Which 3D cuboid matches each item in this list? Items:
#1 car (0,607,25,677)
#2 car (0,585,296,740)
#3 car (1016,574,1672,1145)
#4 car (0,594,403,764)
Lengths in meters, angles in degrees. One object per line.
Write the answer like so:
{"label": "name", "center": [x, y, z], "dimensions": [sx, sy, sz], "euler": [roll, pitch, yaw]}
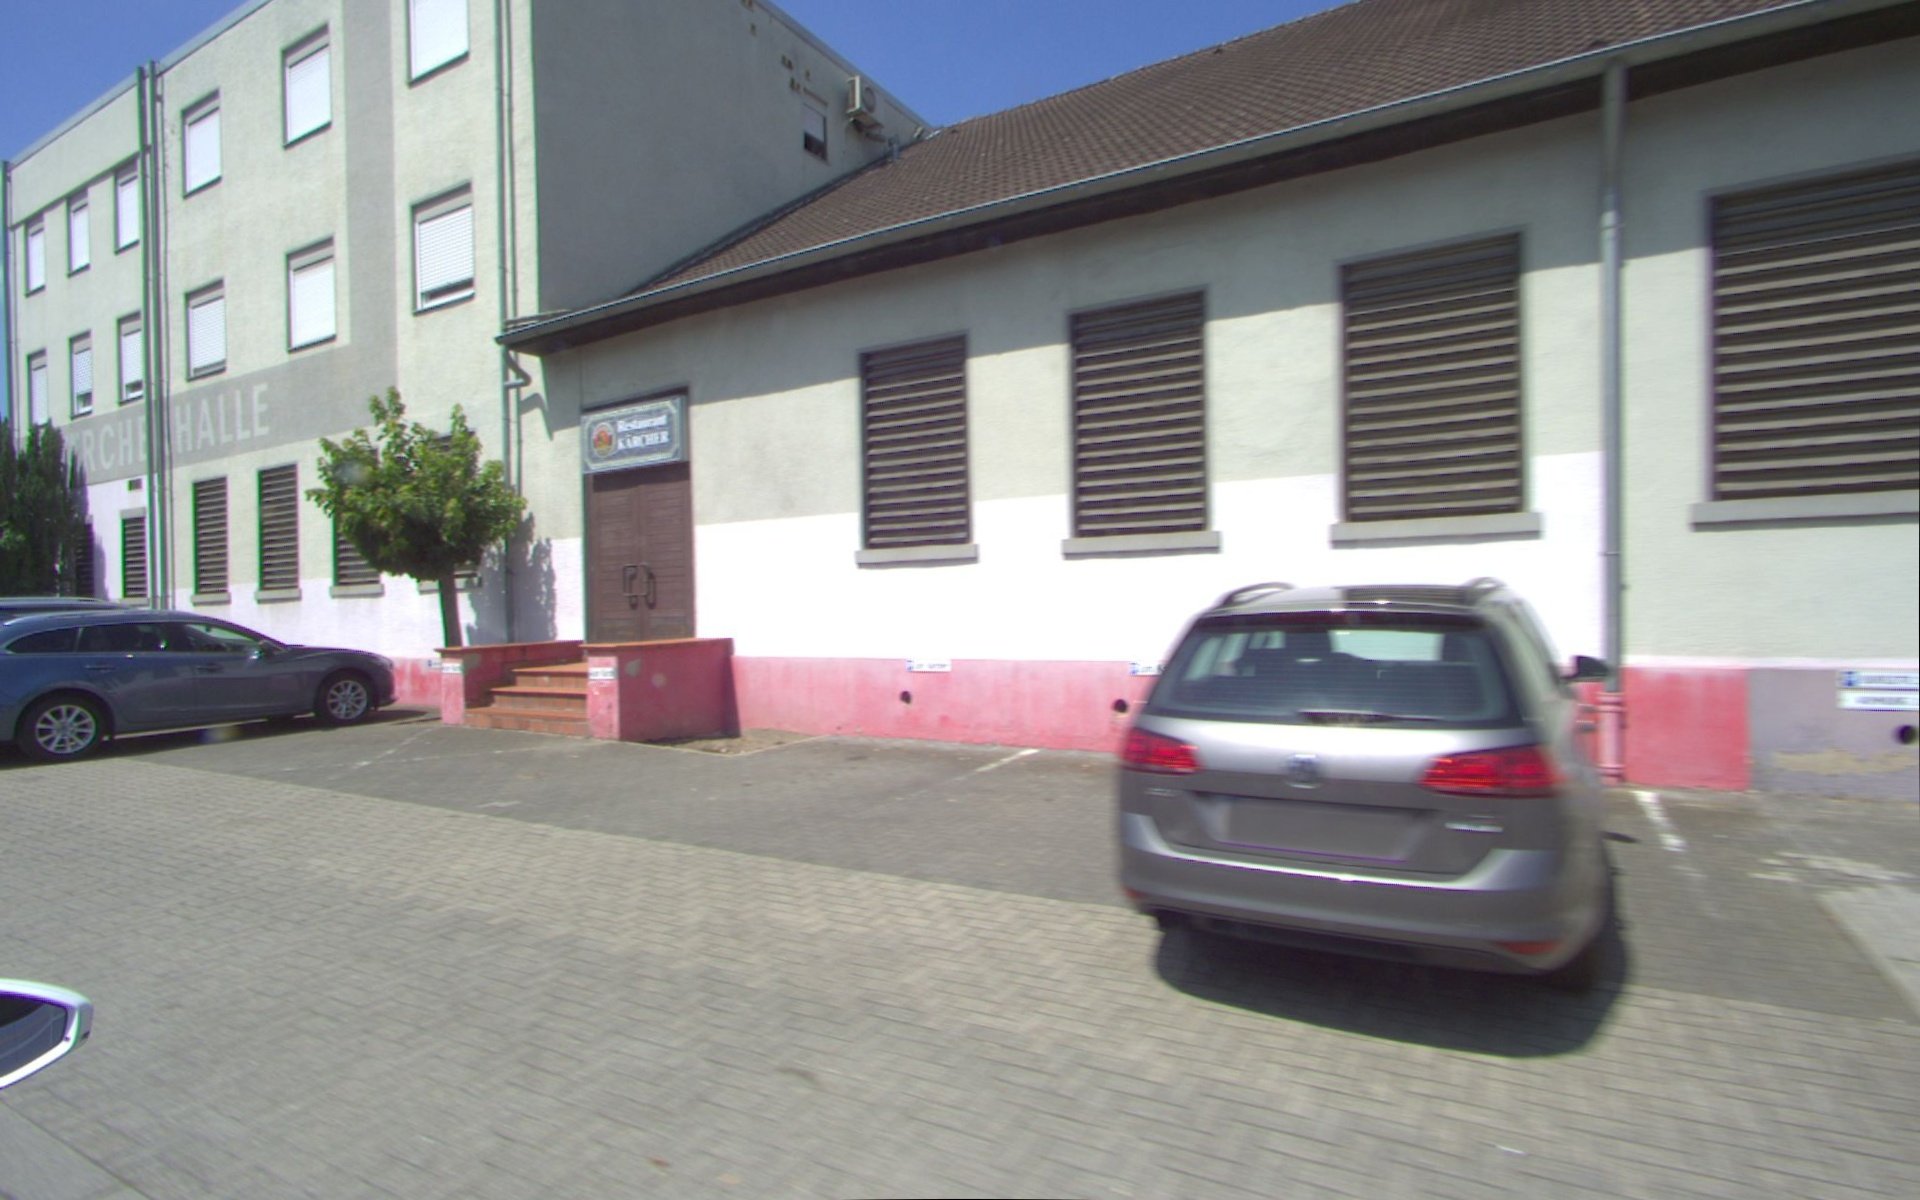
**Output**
{"label": "car", "center": [-21.998, 1.048, 20.110], "dimensions": [1.754, 1.459, 4.313], "euler": [-4, 1, 30]}
{"label": "car", "center": [-11.174, 0.708, 12.471], "dimensions": [1.893, 1.720, 4.447], "euler": [-1, 1, 29]}
{"label": "car", "center": [2.163, 0.636, 5.009], "dimensions": [1.890, 1.474, 4.517], "euler": [-1, 1, 31]}
{"label": "car", "center": [-9.168, 0.763, 11.463], "dimensions": [1.970, 1.540, 4.493], "euler": [-1, 1, 30]}
